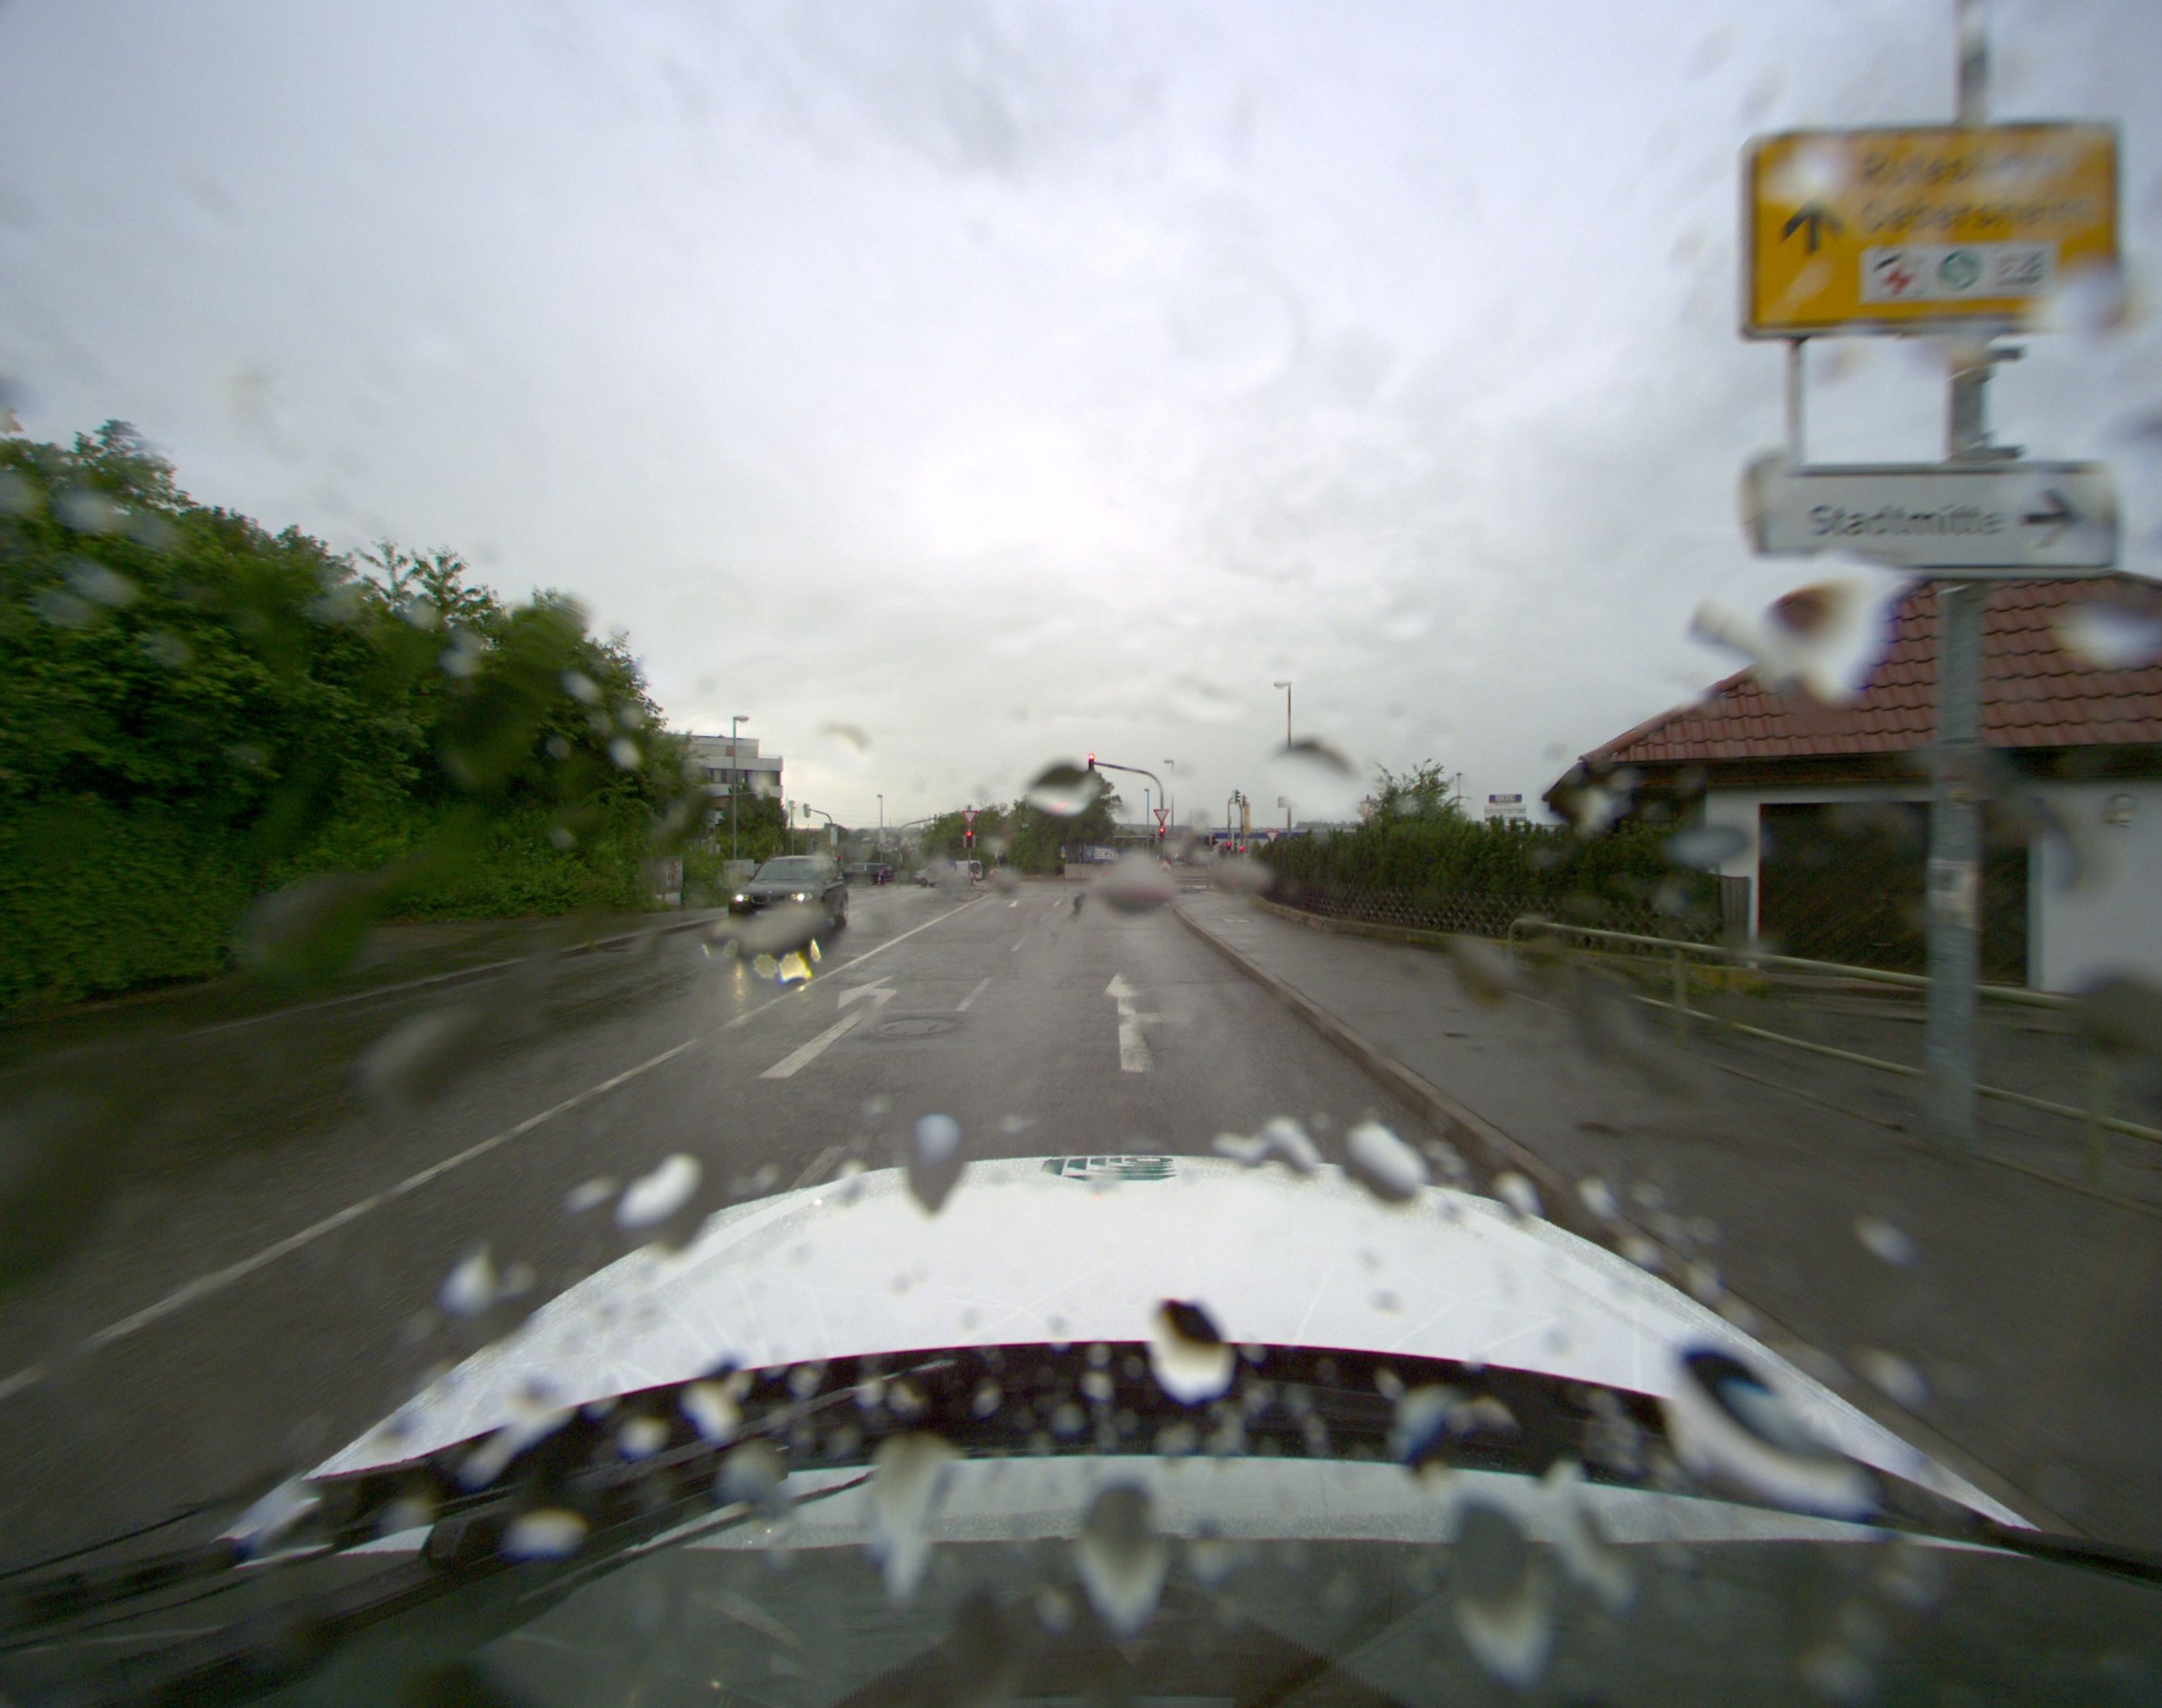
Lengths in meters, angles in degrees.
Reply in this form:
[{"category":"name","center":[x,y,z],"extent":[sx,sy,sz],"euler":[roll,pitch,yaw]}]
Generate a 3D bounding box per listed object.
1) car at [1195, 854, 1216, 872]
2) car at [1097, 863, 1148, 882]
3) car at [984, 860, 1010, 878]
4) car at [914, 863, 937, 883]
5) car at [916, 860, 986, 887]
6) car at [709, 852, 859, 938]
[{"category":"car","center":[14.022,1.003,91.302],"extent":[1.979,2.014,4.015],"euler":[0,-1,14]},{"category":"car","center":[3.376,1.508,66.493],"extent":[3.758,1.449,1.630],"euler":[1,0,31]},{"category":"car","center":[-9.568,1.722,92.817],"extent":[2.000,1.907,3.974],"euler":[1,0,-20]},{"category":"car","center":[-15.814,1.864,82.616],"extent":[1.998,1.895,3.979],"euler":[1,0,-16]},{"category":"car","center":[-10.141,1.500,63.527],"extent":[4.963,2.014,2.007],"euler":[0,-1,12]},{"category":"car","center":[-6.421,0.817,18.185],"extent":[1.990,1.667,4.409],"euler":[0,-1,-4]}]
